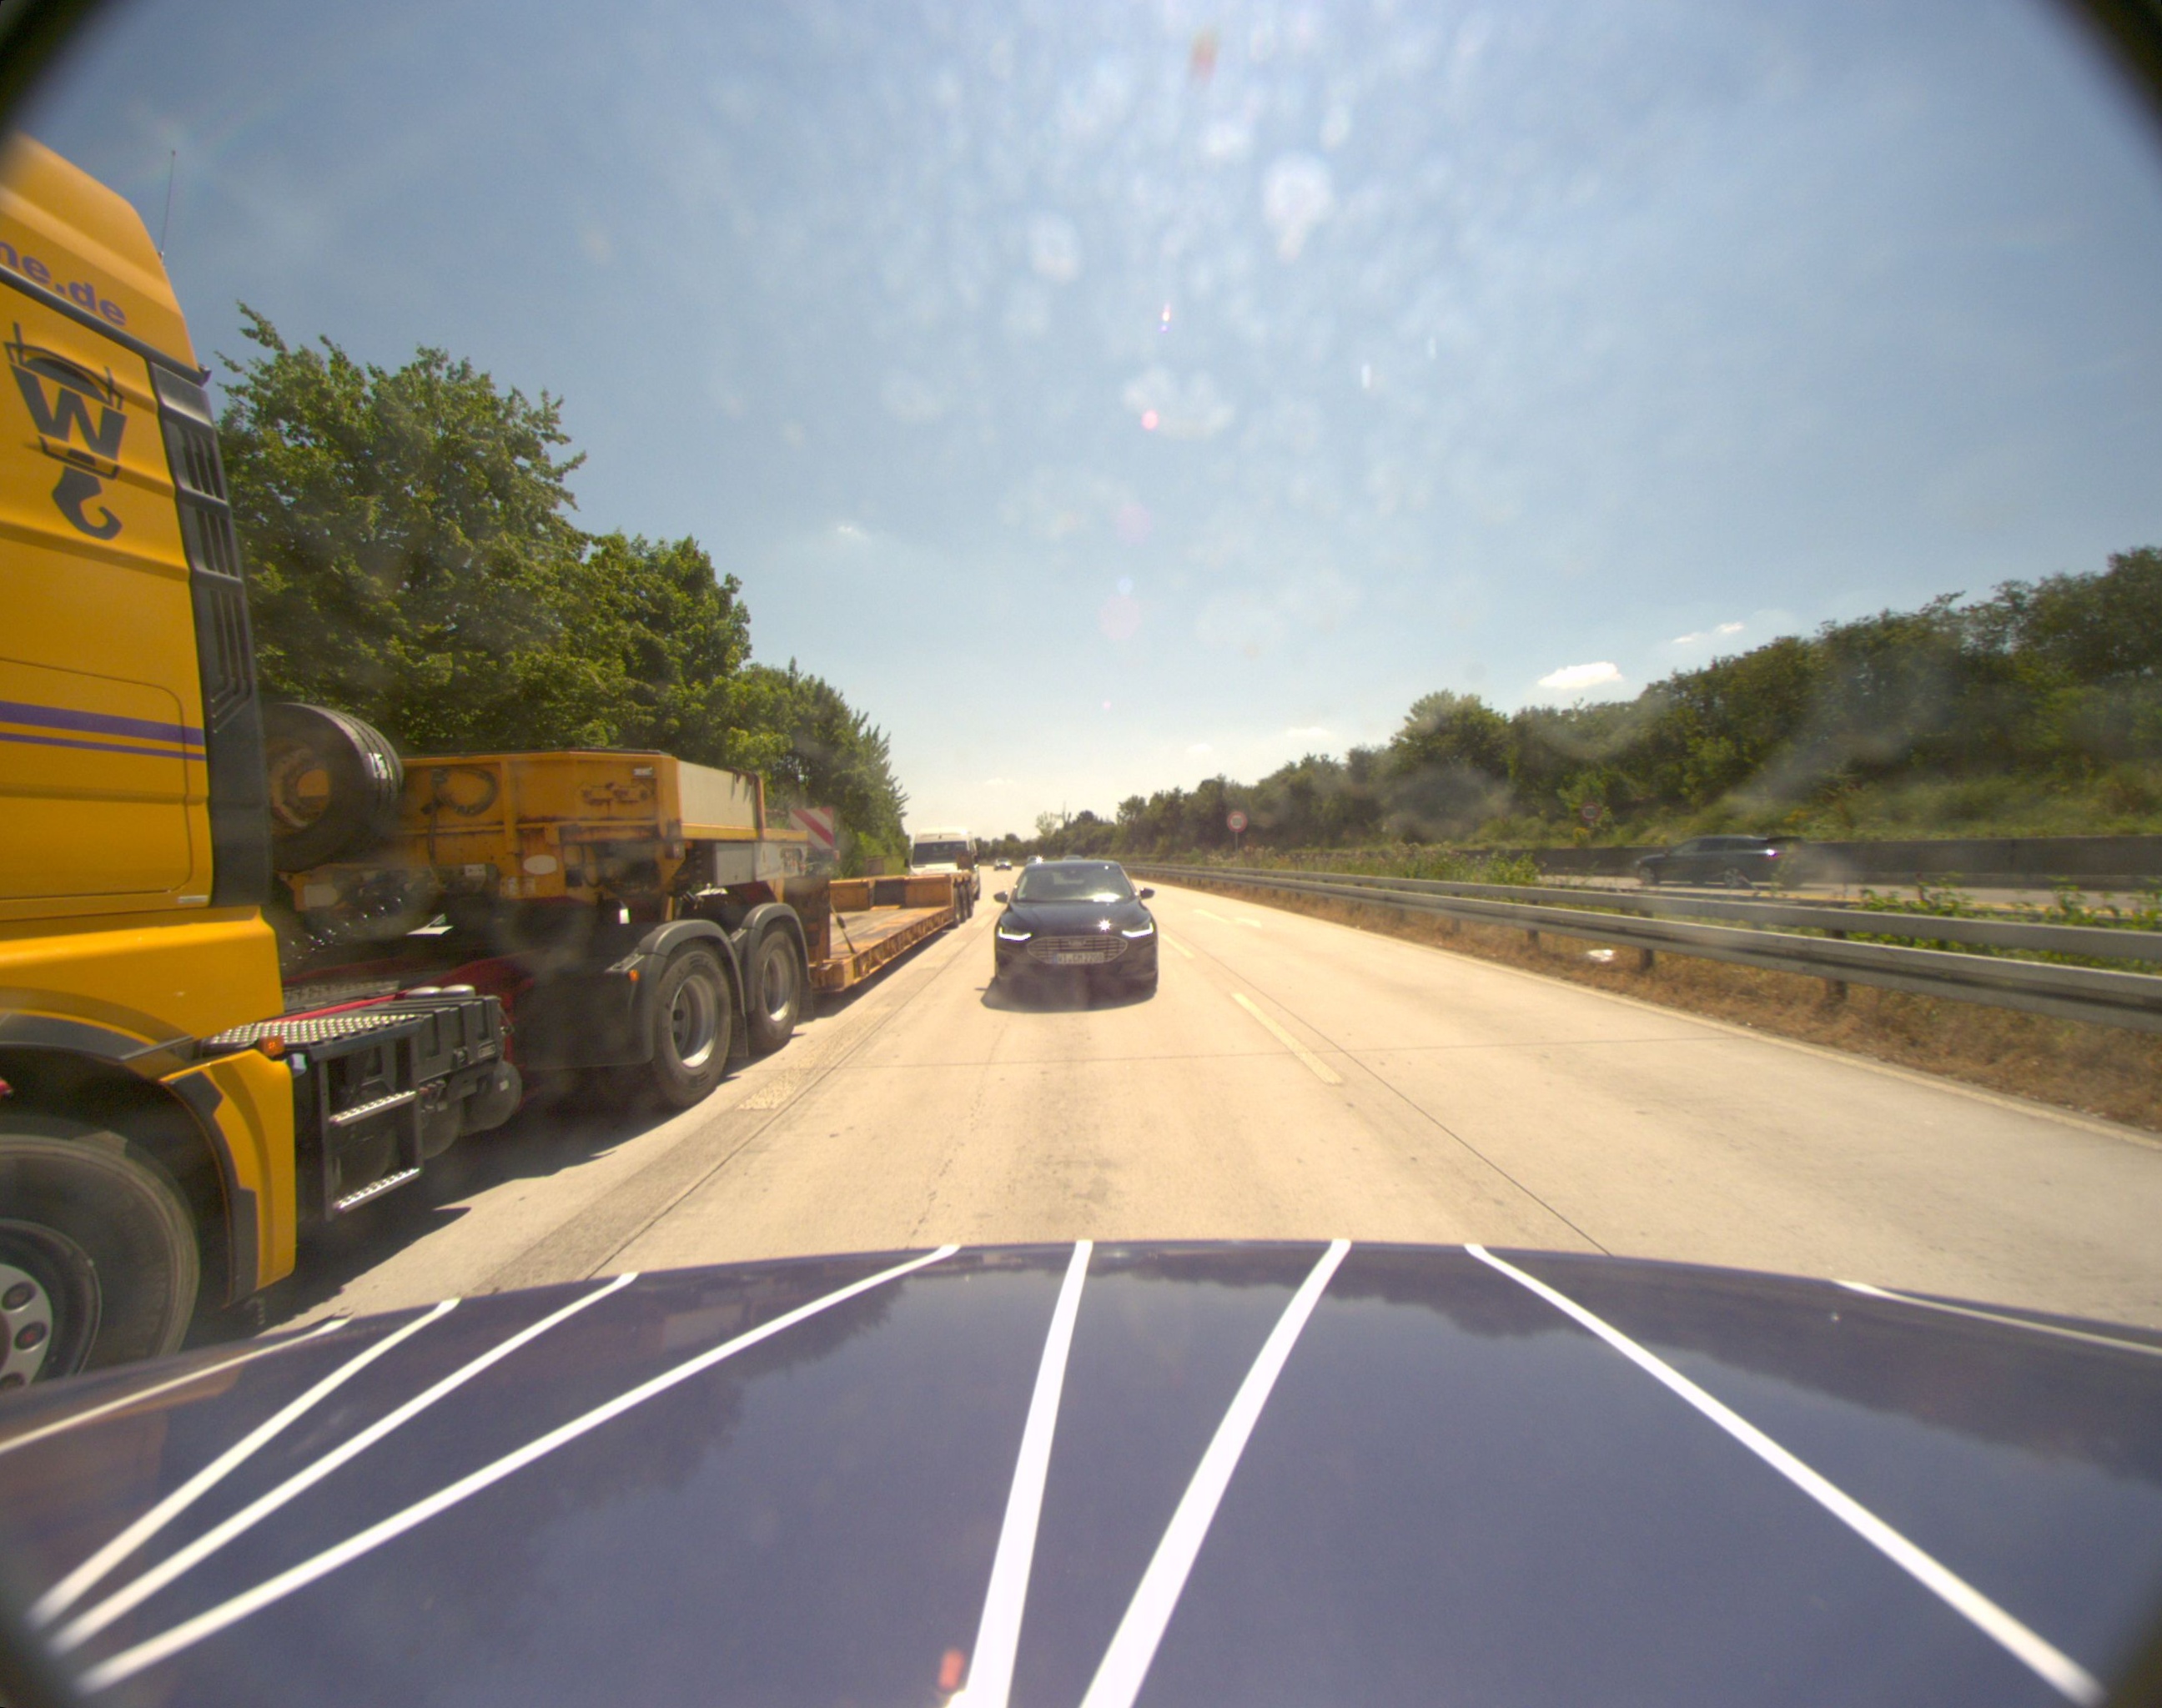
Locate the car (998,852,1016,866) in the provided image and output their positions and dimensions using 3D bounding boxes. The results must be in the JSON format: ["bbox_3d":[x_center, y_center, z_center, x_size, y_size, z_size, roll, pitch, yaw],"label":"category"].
[{"bbox_3d":[-8.585,0.565,87.513,1.892,1.456,3.997,-2,1,-7],"label":"car"}]

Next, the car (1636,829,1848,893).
[{"bbox_3d":[17.565,0.145,20.514,1.716,1.476,4.291,-2,1,-5],"label":"car"}]

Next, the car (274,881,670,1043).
[{"bbox_3d":[-7.721,1.231,10.397,1.772,1.454,4.597,-2,1,-2],"label":"car"}]

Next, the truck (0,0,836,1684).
[{"bbox_3d":[-3.883,-0.101,3.576,3.021,3.751,7.468,-2,1,-1],"label":"truck"}]

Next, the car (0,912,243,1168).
[{"bbox_3d":[-7.539,1.252,3.847,1.772,1.454,4.363,-2,1,-2],"label":"car"}]

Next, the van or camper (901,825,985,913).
[{"bbox_3d":[-4.469,0.409,25.533,2.069,2.559,5.905,-2,1,-4],"label":"van or camper"}]

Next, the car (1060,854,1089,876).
[{"bbox_3d":[-0.512,0.756,55.956,1.628,1.476,3.997,-2,1,-7],"label":"car"}]

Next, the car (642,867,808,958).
[{"bbox_3d":[-7.538,1.140,16.624,1.773,1.552,4.366,-2,1,-4],"label":"car"}]

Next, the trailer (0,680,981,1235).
[{"bbox_3d":[-4.032,0.468,11.867,3.035,2.578,16.353,-2,0,-1],"label":"trailer"}]

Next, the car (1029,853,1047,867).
[{"bbox_3d":[-5.014,0.671,88.706,1.707,1.456,3.996,-2,1,-8],"label":"car"}]

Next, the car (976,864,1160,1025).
[{"bbox_3d":[-0.125,0.908,9.542,1.731,1.430,4.303,-2,0,0],"label":"car"}]
